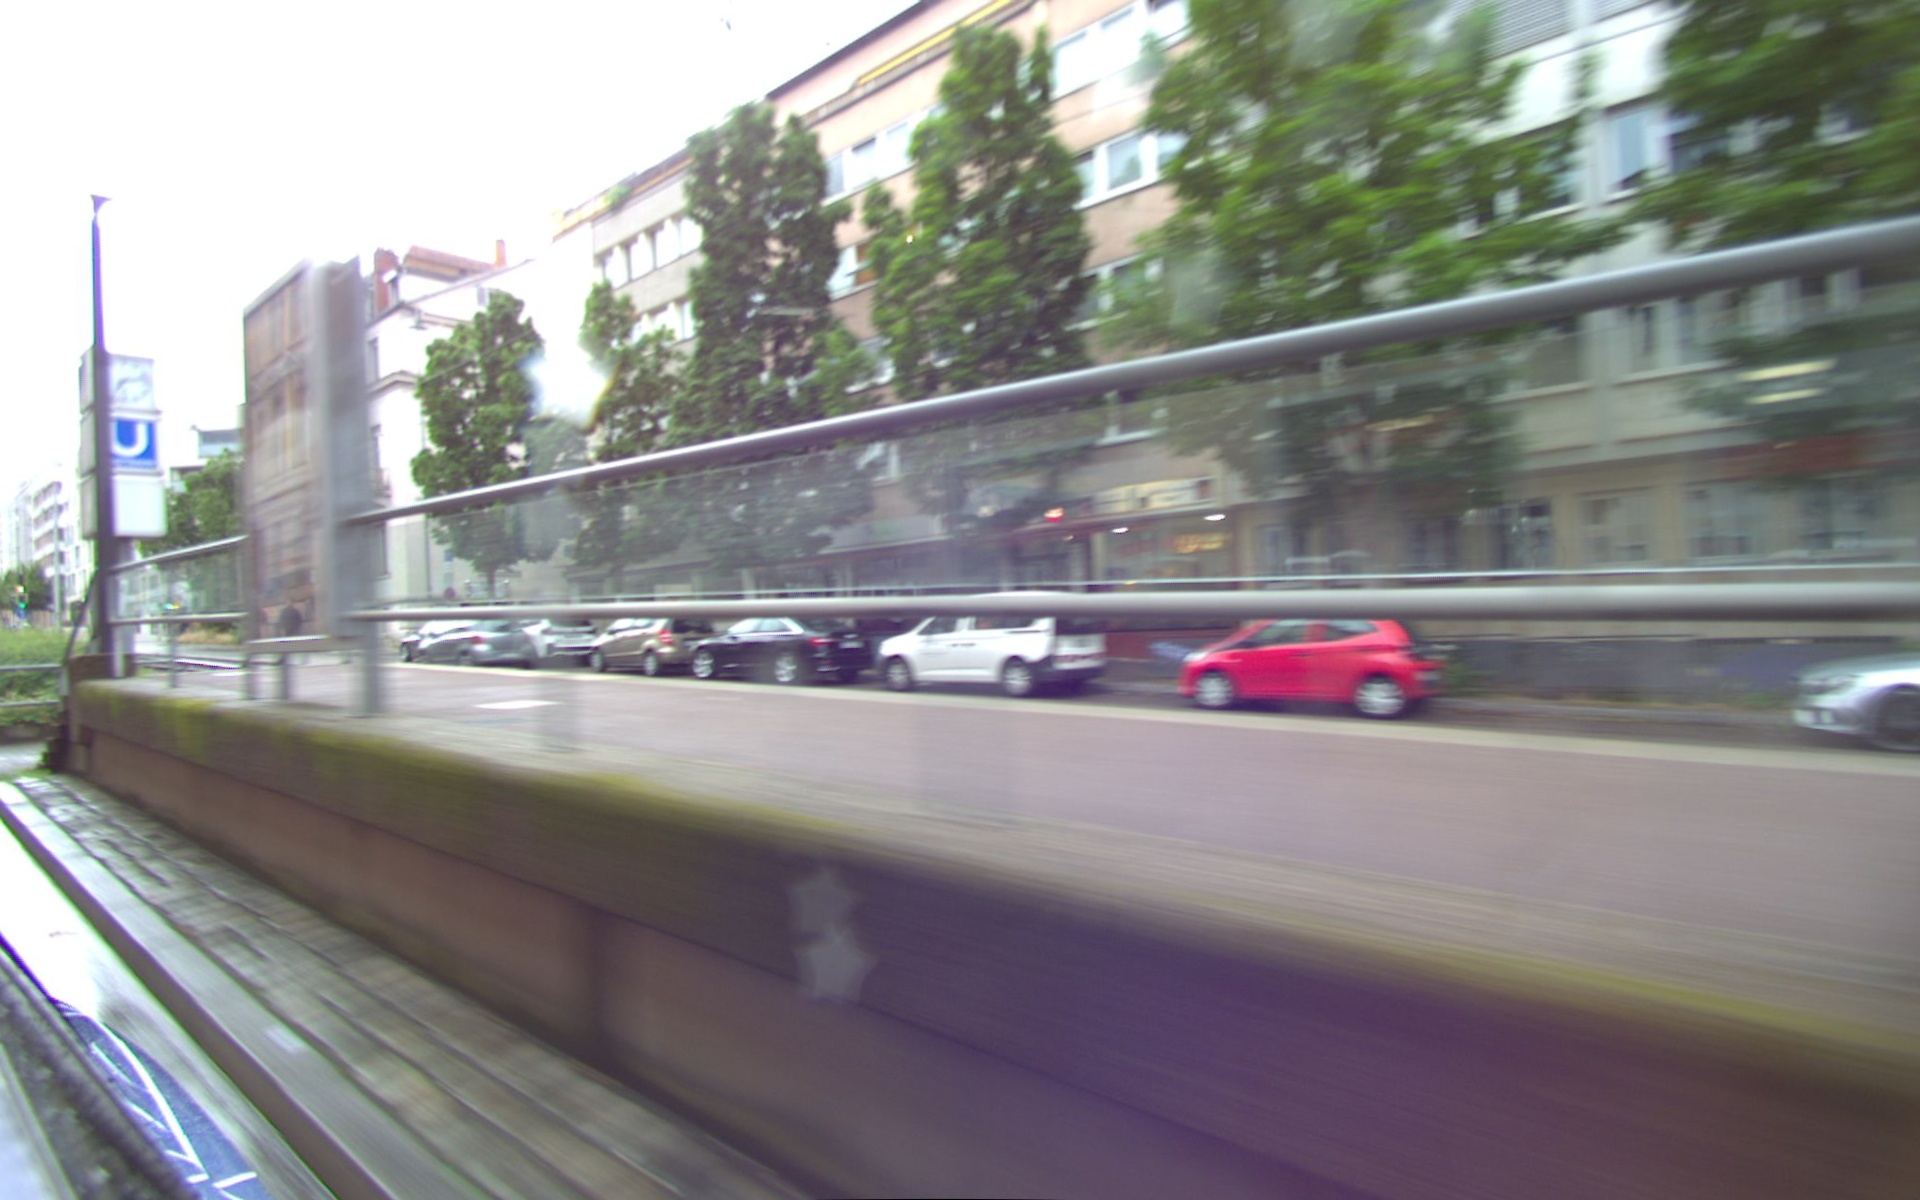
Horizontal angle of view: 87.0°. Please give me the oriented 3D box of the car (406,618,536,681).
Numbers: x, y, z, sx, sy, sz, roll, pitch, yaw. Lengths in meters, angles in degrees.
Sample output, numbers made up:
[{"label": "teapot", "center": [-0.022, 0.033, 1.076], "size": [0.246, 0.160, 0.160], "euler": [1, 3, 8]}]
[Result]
[{"label": "car", "center": [-12.595, 1.207, 25.978], "size": [3.962, 1.473, 1.621], "euler": [-1, 0, 42]}]

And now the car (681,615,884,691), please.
[{"label": "car", "center": [-3.882, 1.062, 21.663], "size": [4.726, 1.451, 1.622], "euler": [-1, 0, 40]}]

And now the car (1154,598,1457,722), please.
[{"label": "car", "center": [4.883, 0.775, 14.572], "size": [3.801, 1.551, 1.622], "euler": [-1, 0, 40]}]

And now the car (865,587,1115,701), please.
[{"label": "car", "center": [0.442, 0.725, 18.238], "size": [4.428, 1.831, 1.657], "euler": [-1, 0, 40]}]

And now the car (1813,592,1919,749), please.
[{"label": "car", "center": [10.721, 0.636, 9.130], "size": [4.524, 1.473, 1.675], "euler": [-1, 0, 38]}]

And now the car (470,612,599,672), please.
[{"label": "car", "center": [-12.401, 1.164, 29.374], "size": [4.334, 1.596, 1.641], "euler": [-1, 0, 40]}]

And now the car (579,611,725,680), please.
[{"label": "car", "center": [-7.730, 1.078, 25.192], "size": [4.021, 1.549, 1.621], "euler": [-1, 0, 42]}]

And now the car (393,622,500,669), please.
[{"label": "car", "center": [-16.907, 1.456, 33.231], "size": [4.457, 1.386, 1.695], "euler": [-1, 0, 43]}]
